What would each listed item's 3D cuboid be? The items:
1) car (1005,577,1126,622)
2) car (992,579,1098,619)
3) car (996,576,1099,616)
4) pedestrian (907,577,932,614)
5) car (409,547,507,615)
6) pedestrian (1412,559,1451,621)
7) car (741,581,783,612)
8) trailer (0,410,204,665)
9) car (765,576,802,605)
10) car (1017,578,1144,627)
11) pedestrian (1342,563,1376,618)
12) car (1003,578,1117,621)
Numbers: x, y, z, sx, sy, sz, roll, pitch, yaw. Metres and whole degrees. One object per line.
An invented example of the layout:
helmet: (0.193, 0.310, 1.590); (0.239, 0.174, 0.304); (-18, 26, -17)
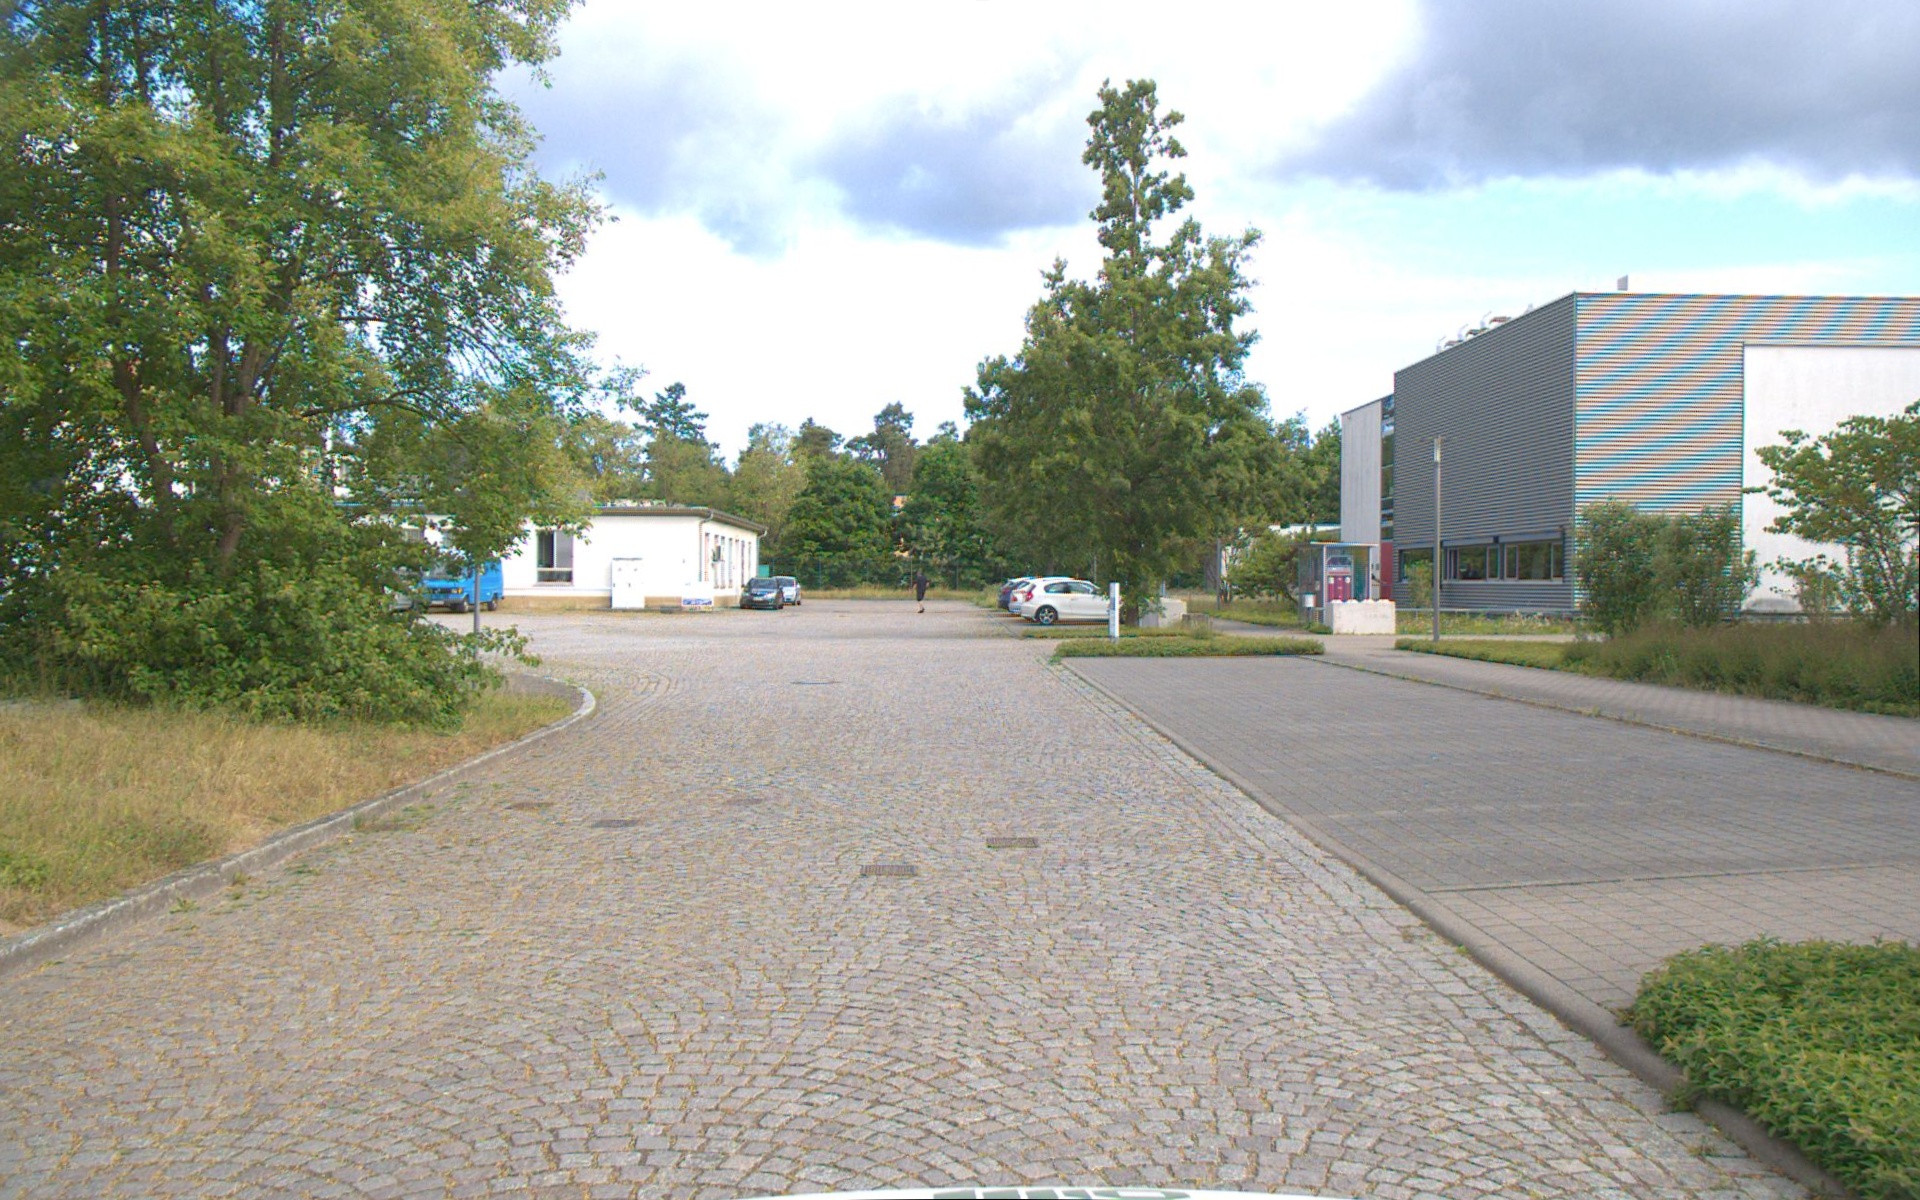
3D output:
car: (3.501, -0.018, 55.196); (3.906, 1.481, 1.697); (0, 0, -1)
car: (3.216, -0.049, 63.133); (3.906, 1.481, 1.769); (0, 0, -1)
car: (3.468, -0.167, 66.355); (3.909, 1.560, 1.998); (0, 0, -5)
pedestrian: (-1.768, -0.191, 72.766); (0.924, 1.595, 0.968); (0, 0, -14)
car: (-19.584, -0.732, 64.834); (1.952, 2.567, 5.619); (0, 0, 2)
pedestrian: (15.328, -0.320, 53.754); (0.908, 1.970, 0.846); (0, 0, -31)
car: (-9.159, -0.165, 76.687); (1.714, 1.387, 3.997); (0, 1, -4)
trailer: (-15.442, -0.932, 25.355); (2.602, 3.770, 10.723); (0, 0, 1)
car: (-9.257, -0.513, 86.916); (1.714, 1.480, 3.997); (0, 0, -4)
car: (3.836, 0.088, 53.035); (3.906, 1.481, 2.000); (1, 0, -1)
pedestrian: (14.871, -0.348, 61.689); (0.903, 2.049, 1.145); (0, 0, -7)
car: (3.494, -0.023, 58.236); (3.906, 1.481, 1.769); (0, 0, -1)
